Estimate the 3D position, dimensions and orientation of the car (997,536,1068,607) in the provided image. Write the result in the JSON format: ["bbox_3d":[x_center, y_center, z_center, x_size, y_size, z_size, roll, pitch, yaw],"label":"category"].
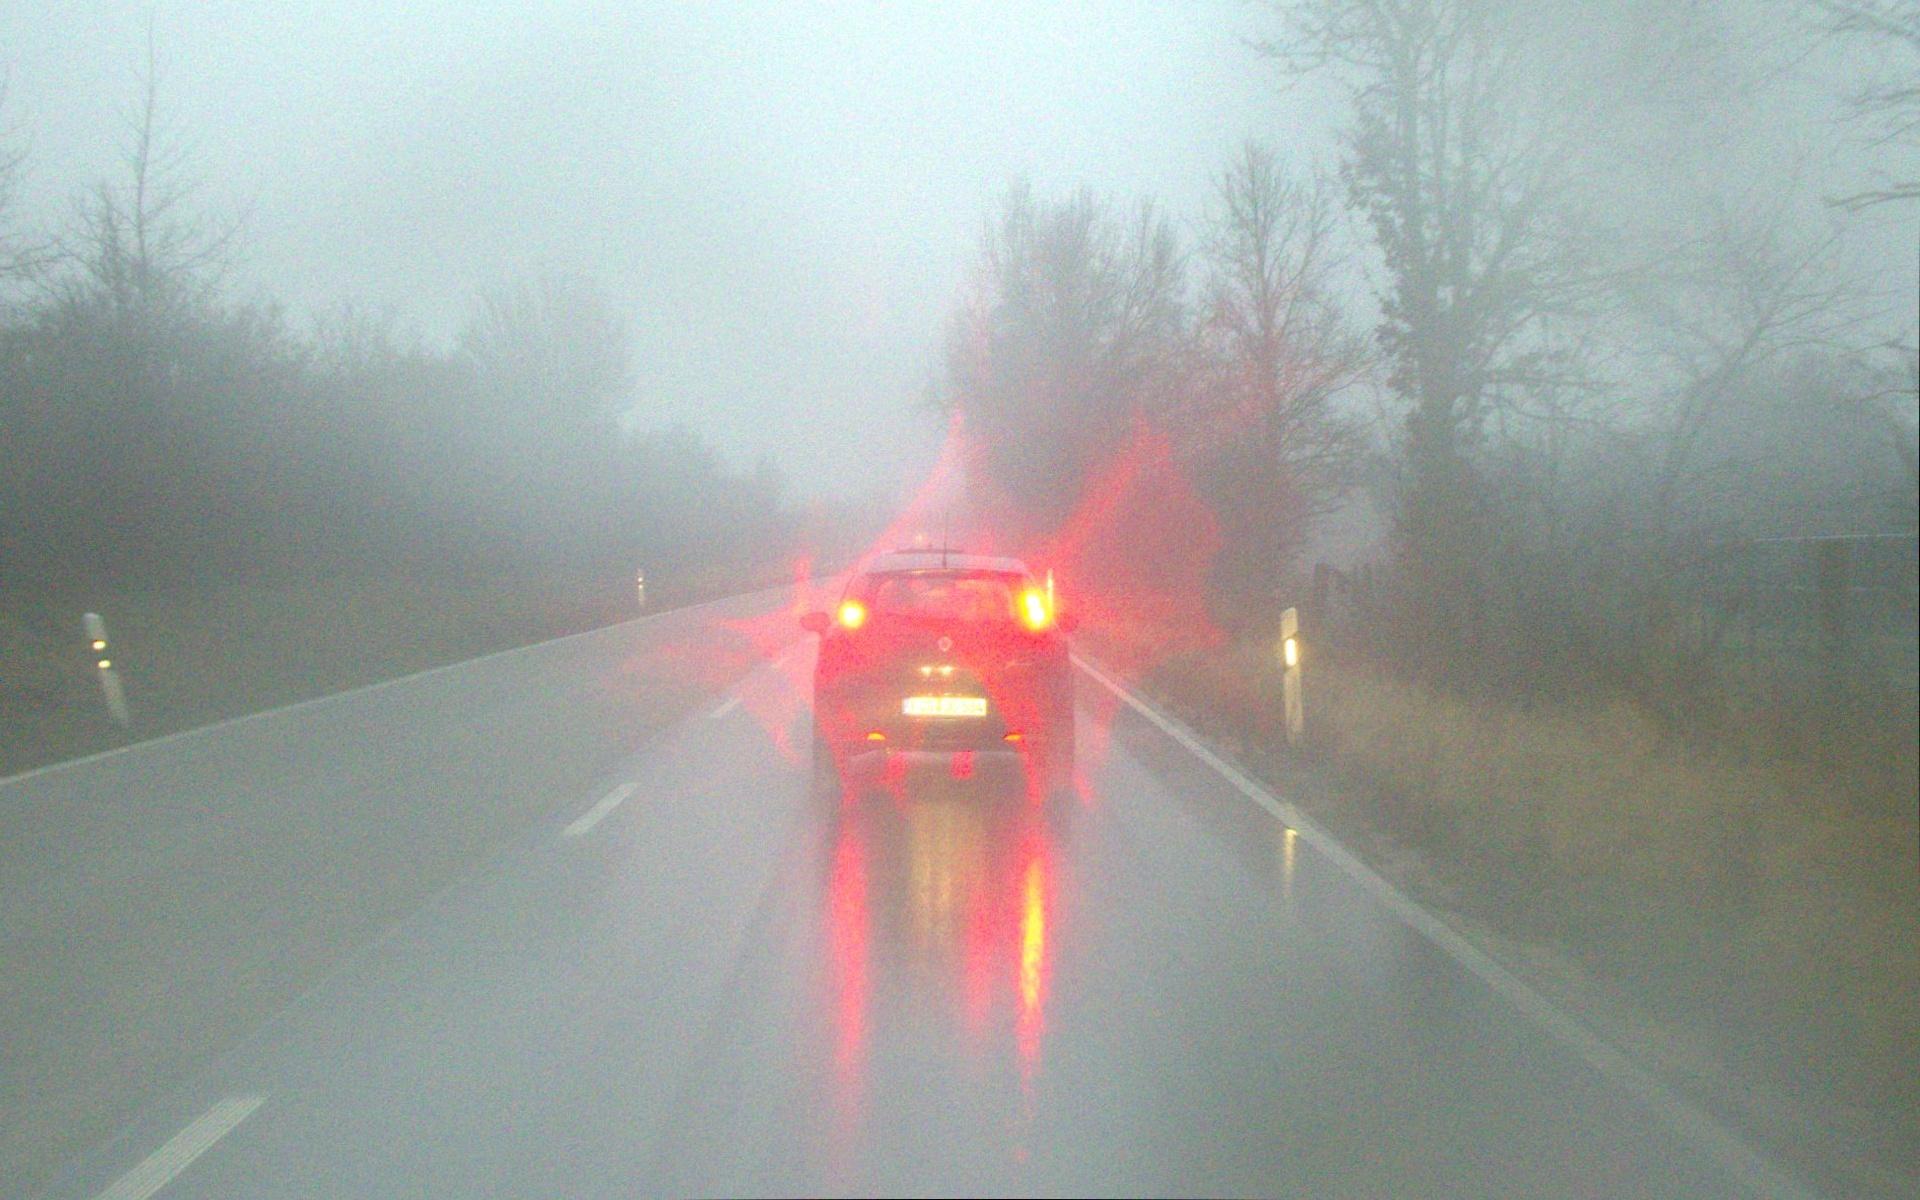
[{"bbox_3d":[1.707,-0.685,79.888,1.564,1.586,3.488,1,1,2],"label":"car"}]

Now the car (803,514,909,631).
[{"bbox_3d":[-1.721,-0.481,57.935,1.574,1.868,3.709,1,1,1],"label":"car"}]

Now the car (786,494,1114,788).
[{"bbox_3d":[-0.028,0.216,23.226,1.993,1.778,4.000,1,1,1],"label":"car"}]
